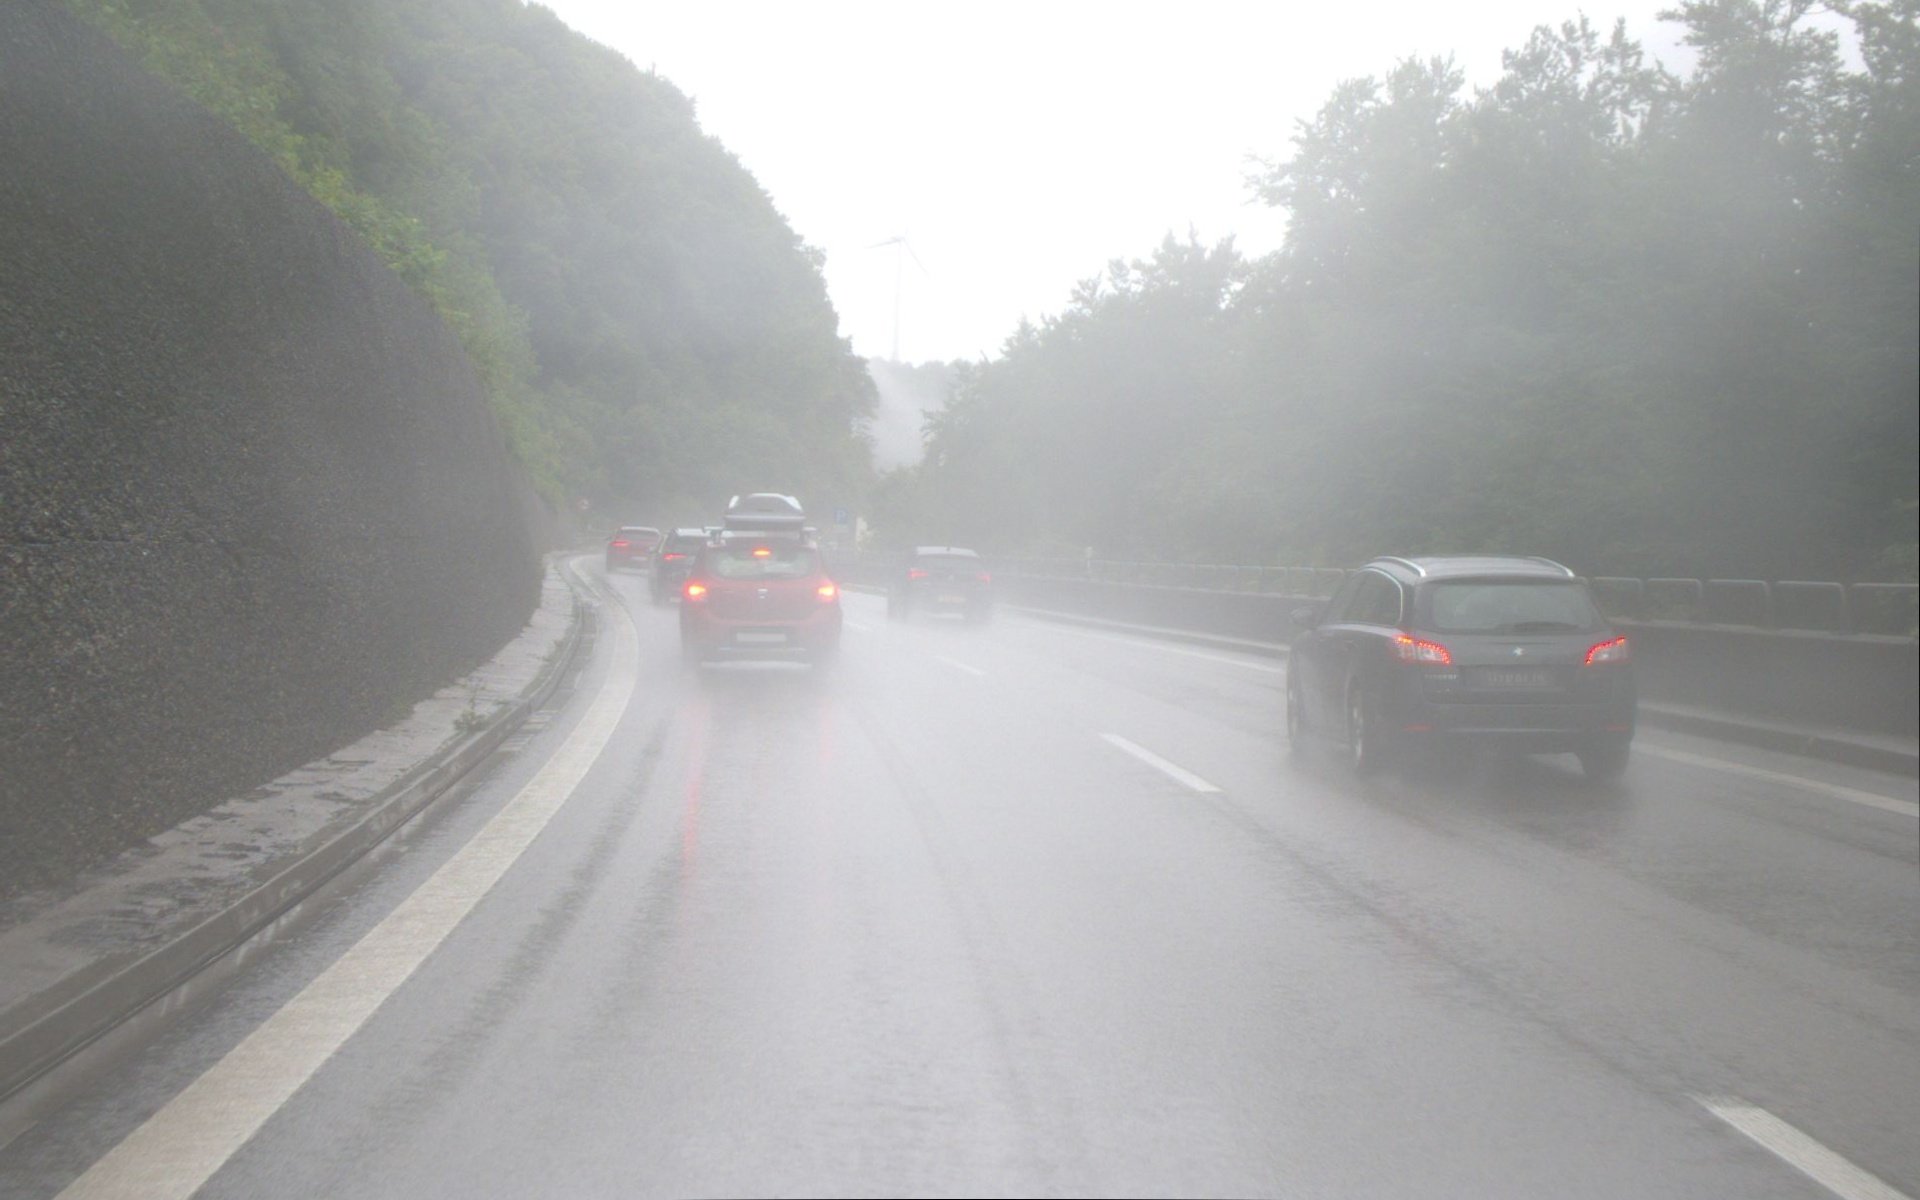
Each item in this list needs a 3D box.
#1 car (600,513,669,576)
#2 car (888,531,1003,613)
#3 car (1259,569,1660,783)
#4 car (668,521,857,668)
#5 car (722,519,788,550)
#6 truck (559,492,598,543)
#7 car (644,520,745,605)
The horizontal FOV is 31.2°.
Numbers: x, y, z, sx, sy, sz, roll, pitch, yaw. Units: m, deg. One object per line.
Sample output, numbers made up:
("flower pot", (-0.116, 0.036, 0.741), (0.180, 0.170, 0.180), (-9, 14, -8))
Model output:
("car", (-10.905, -1.846, 114.983), (1.993, 2.007, 4.001), (1, 0, -9))
("car", (-0.319, -0.570, 67.959), (1.993, 1.546, 4.001), (1, 1, -4))
("car", (3.289, 0.453, 23.413), (1.800, 1.303, 4.001), (0, 1, -5))
("car", (-2.262, -0.071, 38.675), (1.993, 1.547, 4.001), (1, 0, -4))
("car", (-13.304, -4.229, 223.143), (2.449, 2.007, 4.736), (0, 1, -30))
("truck", (-21.043, -4.541, 189.392), (1.993, 2.741, 5.588), (1, 1, -7))
("car", (-5.517, -0.753, 71.287), (1.993, 1.678, 4.001), (1, 0, -5))
